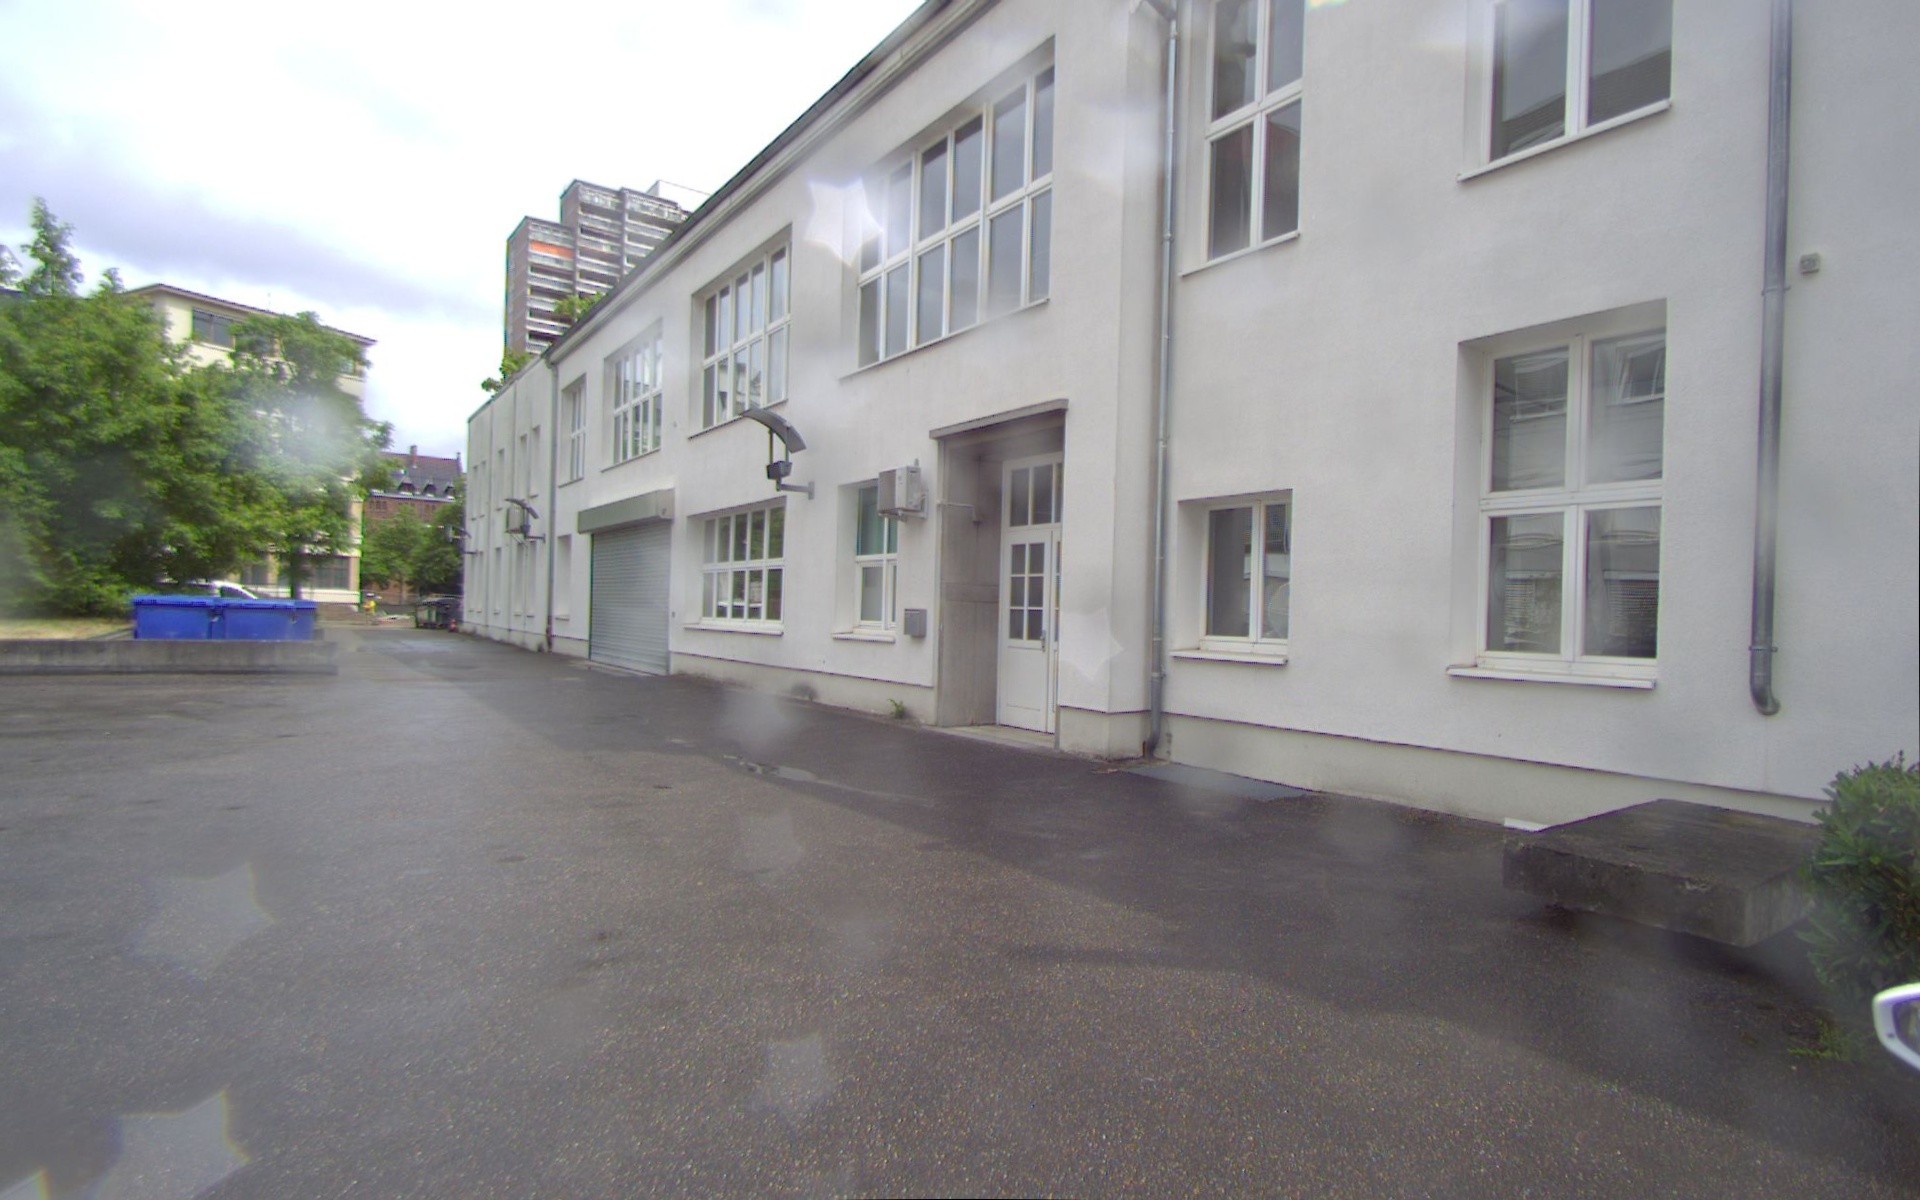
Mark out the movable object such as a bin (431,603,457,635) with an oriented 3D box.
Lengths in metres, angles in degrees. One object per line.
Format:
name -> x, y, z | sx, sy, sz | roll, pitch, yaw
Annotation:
movable object such as a bin -> -23.396, 0.862, 45.499 | 0.968, 1.374, 0.911 | 1, 0, -32

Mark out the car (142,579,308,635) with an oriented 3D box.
car -> -24.428, 0.248, 33.605 | 4.284, 1.750, 1.708 | 2, 0, -31

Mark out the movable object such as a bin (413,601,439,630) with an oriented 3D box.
movable object such as a bin -> -26.778, 0.772, 50.397 | 1.054, 1.374, 1.254 | 1, 0, -32

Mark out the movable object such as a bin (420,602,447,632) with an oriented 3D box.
movable object such as a bin -> -25.154, 0.816, 47.963 | 1.051, 1.374, 1.208 | 1, 0, -32

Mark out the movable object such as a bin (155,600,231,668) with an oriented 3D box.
movable object such as a bin -> -15.950, 0.687, 20.925 | 1.119, 1.346, 1.198 | 1, 0, -32

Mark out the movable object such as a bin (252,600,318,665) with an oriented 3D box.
movable object such as a bin -> -14.703, 0.695, 21.916 | 1.119, 1.346, 1.198 | 1, 0, -32

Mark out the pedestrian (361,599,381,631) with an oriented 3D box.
pedestrian -> -34.045, 0.880, 58.084 | 0.853, 1.838, 0.854 | 1, 0, -40

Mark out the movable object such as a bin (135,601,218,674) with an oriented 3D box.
movable object such as a bin -> -15.144, 0.708, 19.467 | 1.119, 1.346, 1.198 | 1, 0, -32

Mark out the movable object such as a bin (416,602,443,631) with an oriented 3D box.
movable object such as a bin -> -26.027, 0.792, 49.263 | 1.054, 1.374, 1.254 | 1, 0, -32

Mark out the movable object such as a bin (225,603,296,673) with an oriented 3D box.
movable object such as a bin -> -14.055, 0.745, 20.222 | 1.083, 1.343, 1.198 | 1, 0, -32

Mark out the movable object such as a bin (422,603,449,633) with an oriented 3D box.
movable object such as a bin -> -24.437, 0.835, 46.790 | 1.034, 1.374, 1.197 | 1, 0, -32
